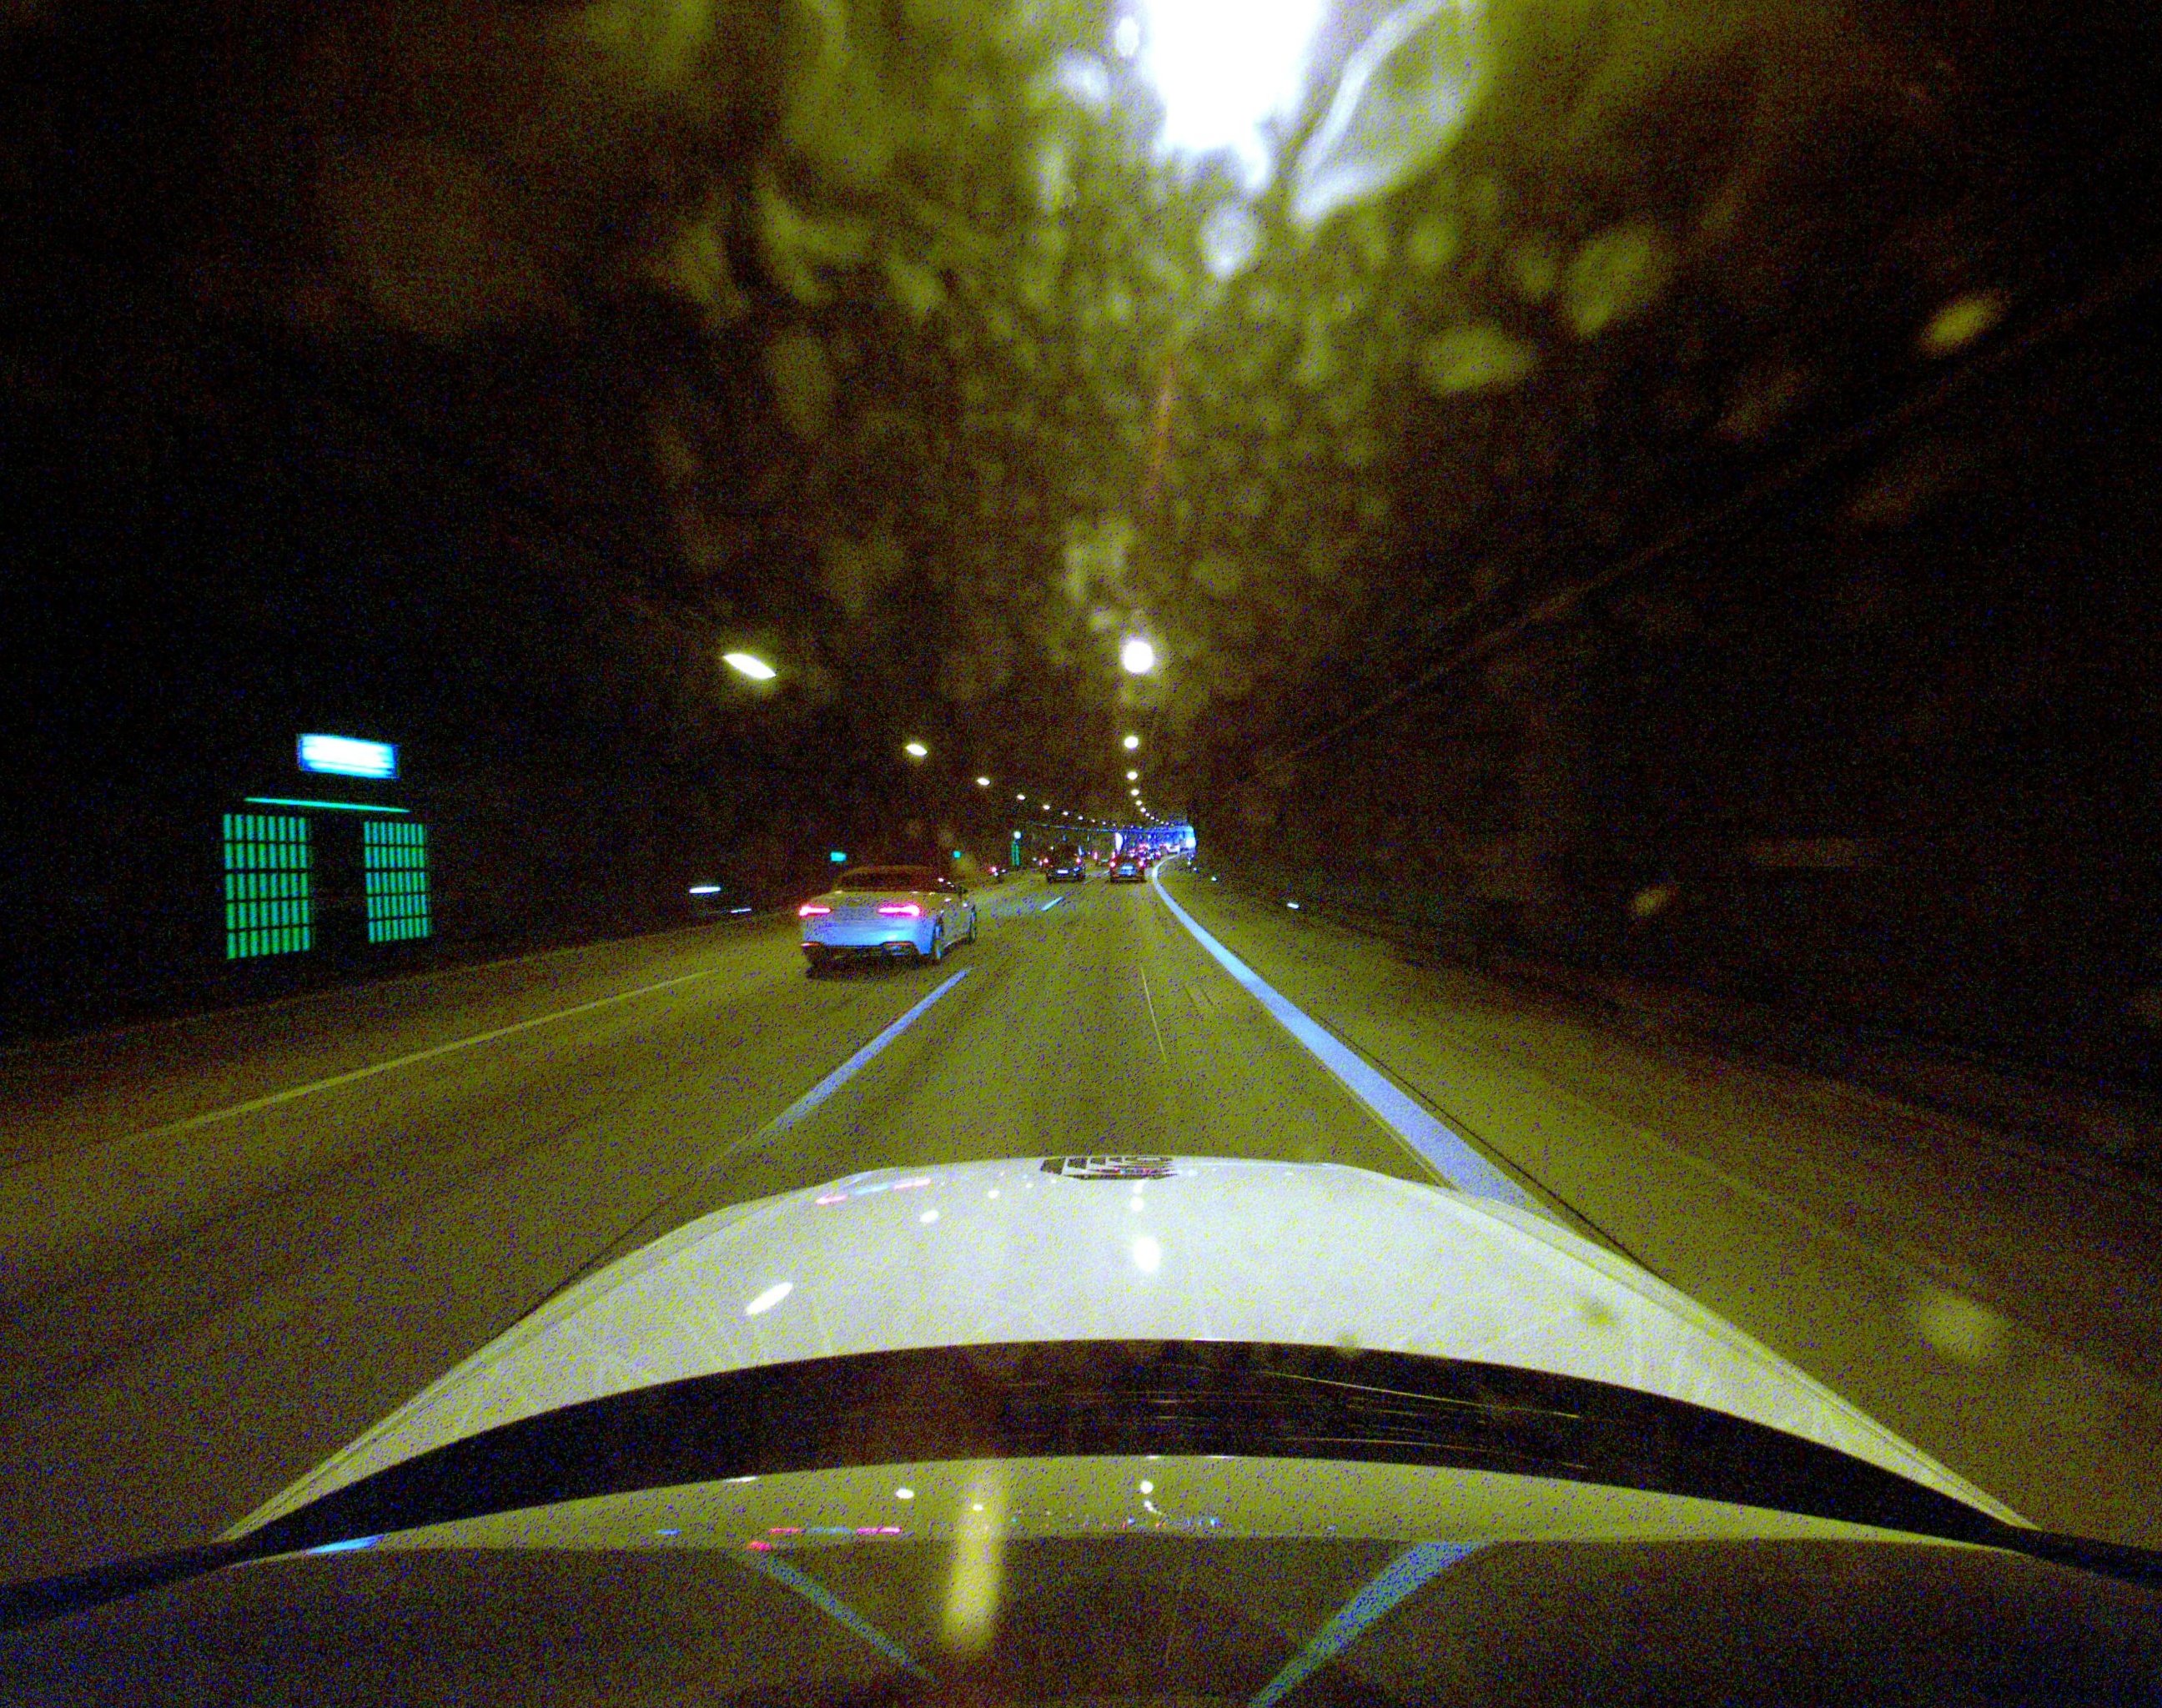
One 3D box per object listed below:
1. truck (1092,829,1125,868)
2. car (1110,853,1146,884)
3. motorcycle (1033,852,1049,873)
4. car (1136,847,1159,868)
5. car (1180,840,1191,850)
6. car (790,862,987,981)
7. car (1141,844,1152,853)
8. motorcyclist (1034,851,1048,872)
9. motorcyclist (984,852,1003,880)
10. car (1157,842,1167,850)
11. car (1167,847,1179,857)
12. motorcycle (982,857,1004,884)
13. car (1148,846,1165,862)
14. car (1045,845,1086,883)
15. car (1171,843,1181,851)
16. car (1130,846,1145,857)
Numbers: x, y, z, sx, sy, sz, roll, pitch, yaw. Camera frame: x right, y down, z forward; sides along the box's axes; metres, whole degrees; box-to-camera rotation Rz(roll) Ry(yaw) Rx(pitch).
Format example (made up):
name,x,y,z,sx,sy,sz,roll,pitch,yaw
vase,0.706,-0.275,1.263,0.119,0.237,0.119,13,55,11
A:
name,x,y,z,sx,sy,sz,roll,pitch,yaw
truck,2.650,-0.501,80.658,3.028,3.673,7.394,-1,0,1
car,2.478,0.705,42.383,1.734,1.464,3.876,-1,1,4
motorcycle,-2.808,0.642,57.353,0.923,1.434,2.962,0,-2,0
car,6.035,0.315,74.238,1.850,1.854,4.002,-1,0,2
car,21.319,-1.822,165.957,1.982,2.014,4.009,-1,-2,8
car,-2.734,0.875,12.832,1.695,1.419,5.063,-1,0,2
car,12.996,-1.092,161.611,1.920,1.642,4.008,-1,0,7
motorcyclist,-2.803,0.526,57.334,0.803,1.448,1.865,-1,-2,0
motorcyclist,-4.474,0.623,41.827,0.773,1.453,1.070,-1,-2,5
car,18.709,-1.757,188.320,1.918,1.643,4.013,-1,-2,12
car,15.668,-0.308,139.078,1.920,1.643,4.008,-1,-1,8
motorcycle,-4.499,0.847,41.781,0.679,1.297,2.402,-1,-1,6
car,9.257,0.004,100.097,1.941,1.772,4.004,-1,-1,4
car,-0.805,0.497,43.889,1.902,1.944,3.874,-1,1,3
car,20.935,-1.489,178.739,1.982,1.632,4.009,-1,-2,8
car,8.688,-0.332,124.274,1.983,1.632,4.008,-1,-1,7
